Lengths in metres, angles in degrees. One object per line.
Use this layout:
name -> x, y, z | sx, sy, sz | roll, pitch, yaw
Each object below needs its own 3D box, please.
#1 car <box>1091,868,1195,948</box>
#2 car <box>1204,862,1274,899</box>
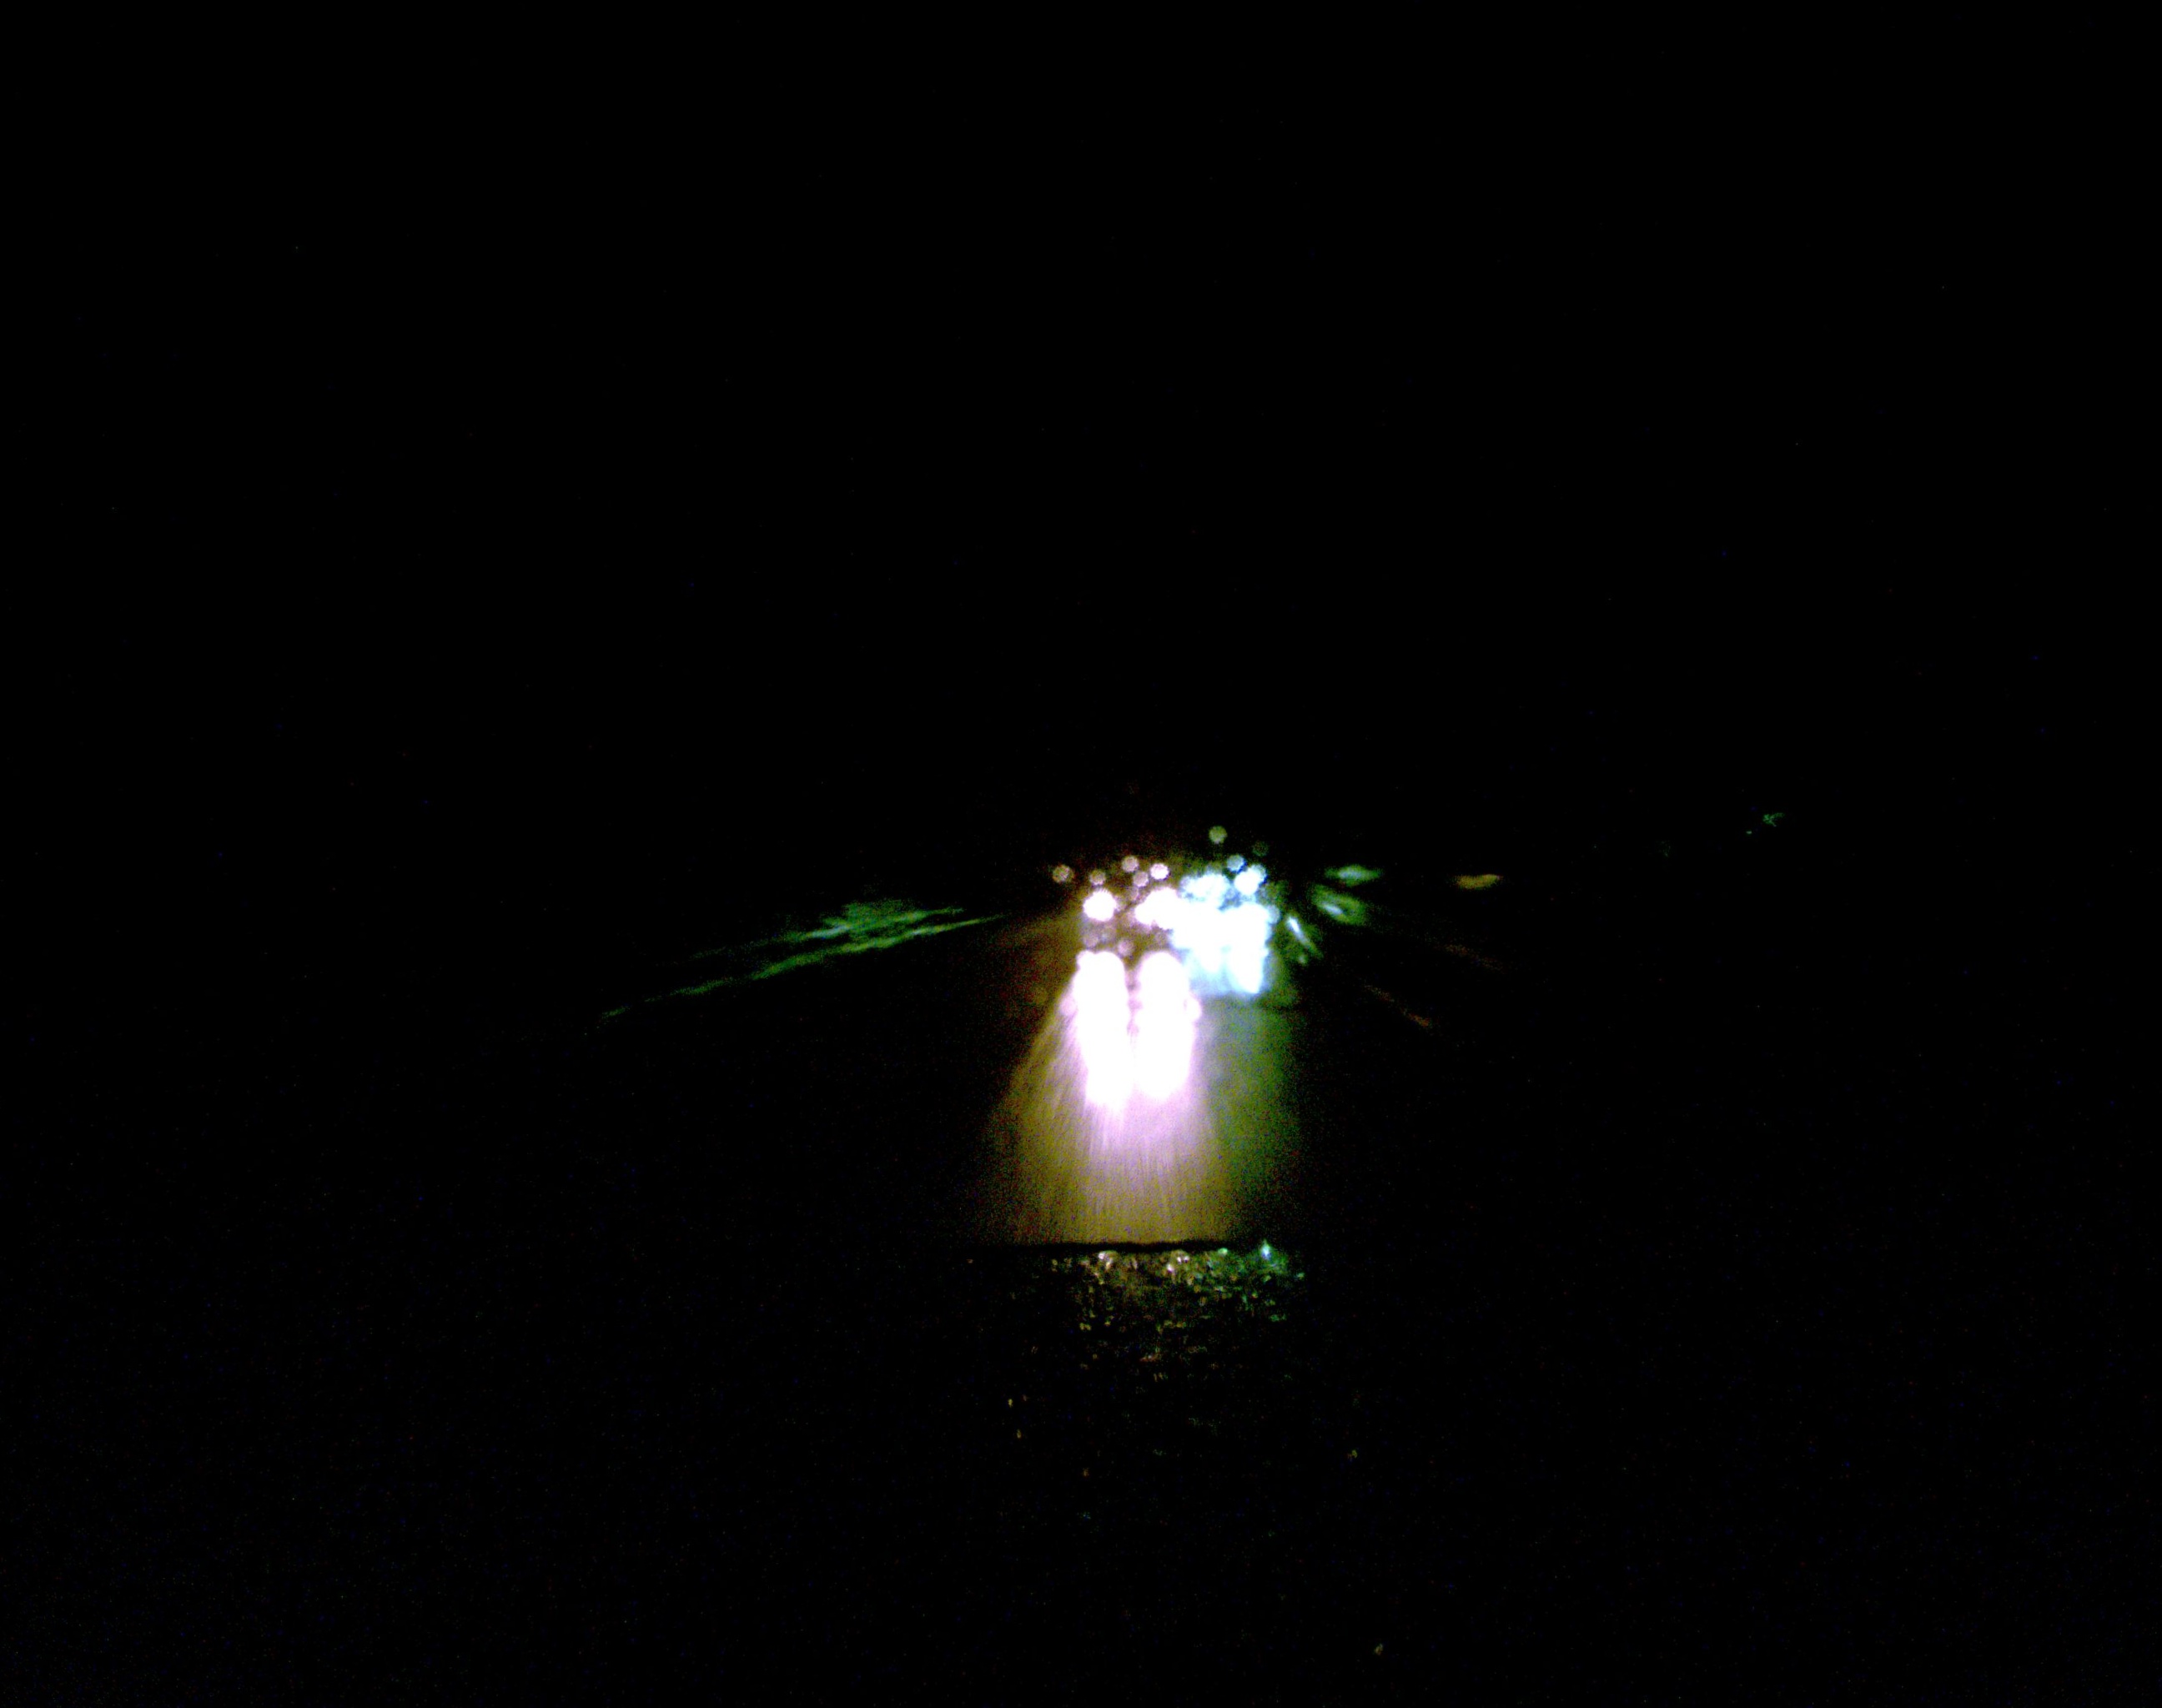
car -> 1.407, 1.033, 15.992 | 1.685, 1.442, 3.646 | 0, 0, 13
car -> 6.165, 0.969, 29.346 | 1.757, 1.304, 4.093 | -1, -1, 25
